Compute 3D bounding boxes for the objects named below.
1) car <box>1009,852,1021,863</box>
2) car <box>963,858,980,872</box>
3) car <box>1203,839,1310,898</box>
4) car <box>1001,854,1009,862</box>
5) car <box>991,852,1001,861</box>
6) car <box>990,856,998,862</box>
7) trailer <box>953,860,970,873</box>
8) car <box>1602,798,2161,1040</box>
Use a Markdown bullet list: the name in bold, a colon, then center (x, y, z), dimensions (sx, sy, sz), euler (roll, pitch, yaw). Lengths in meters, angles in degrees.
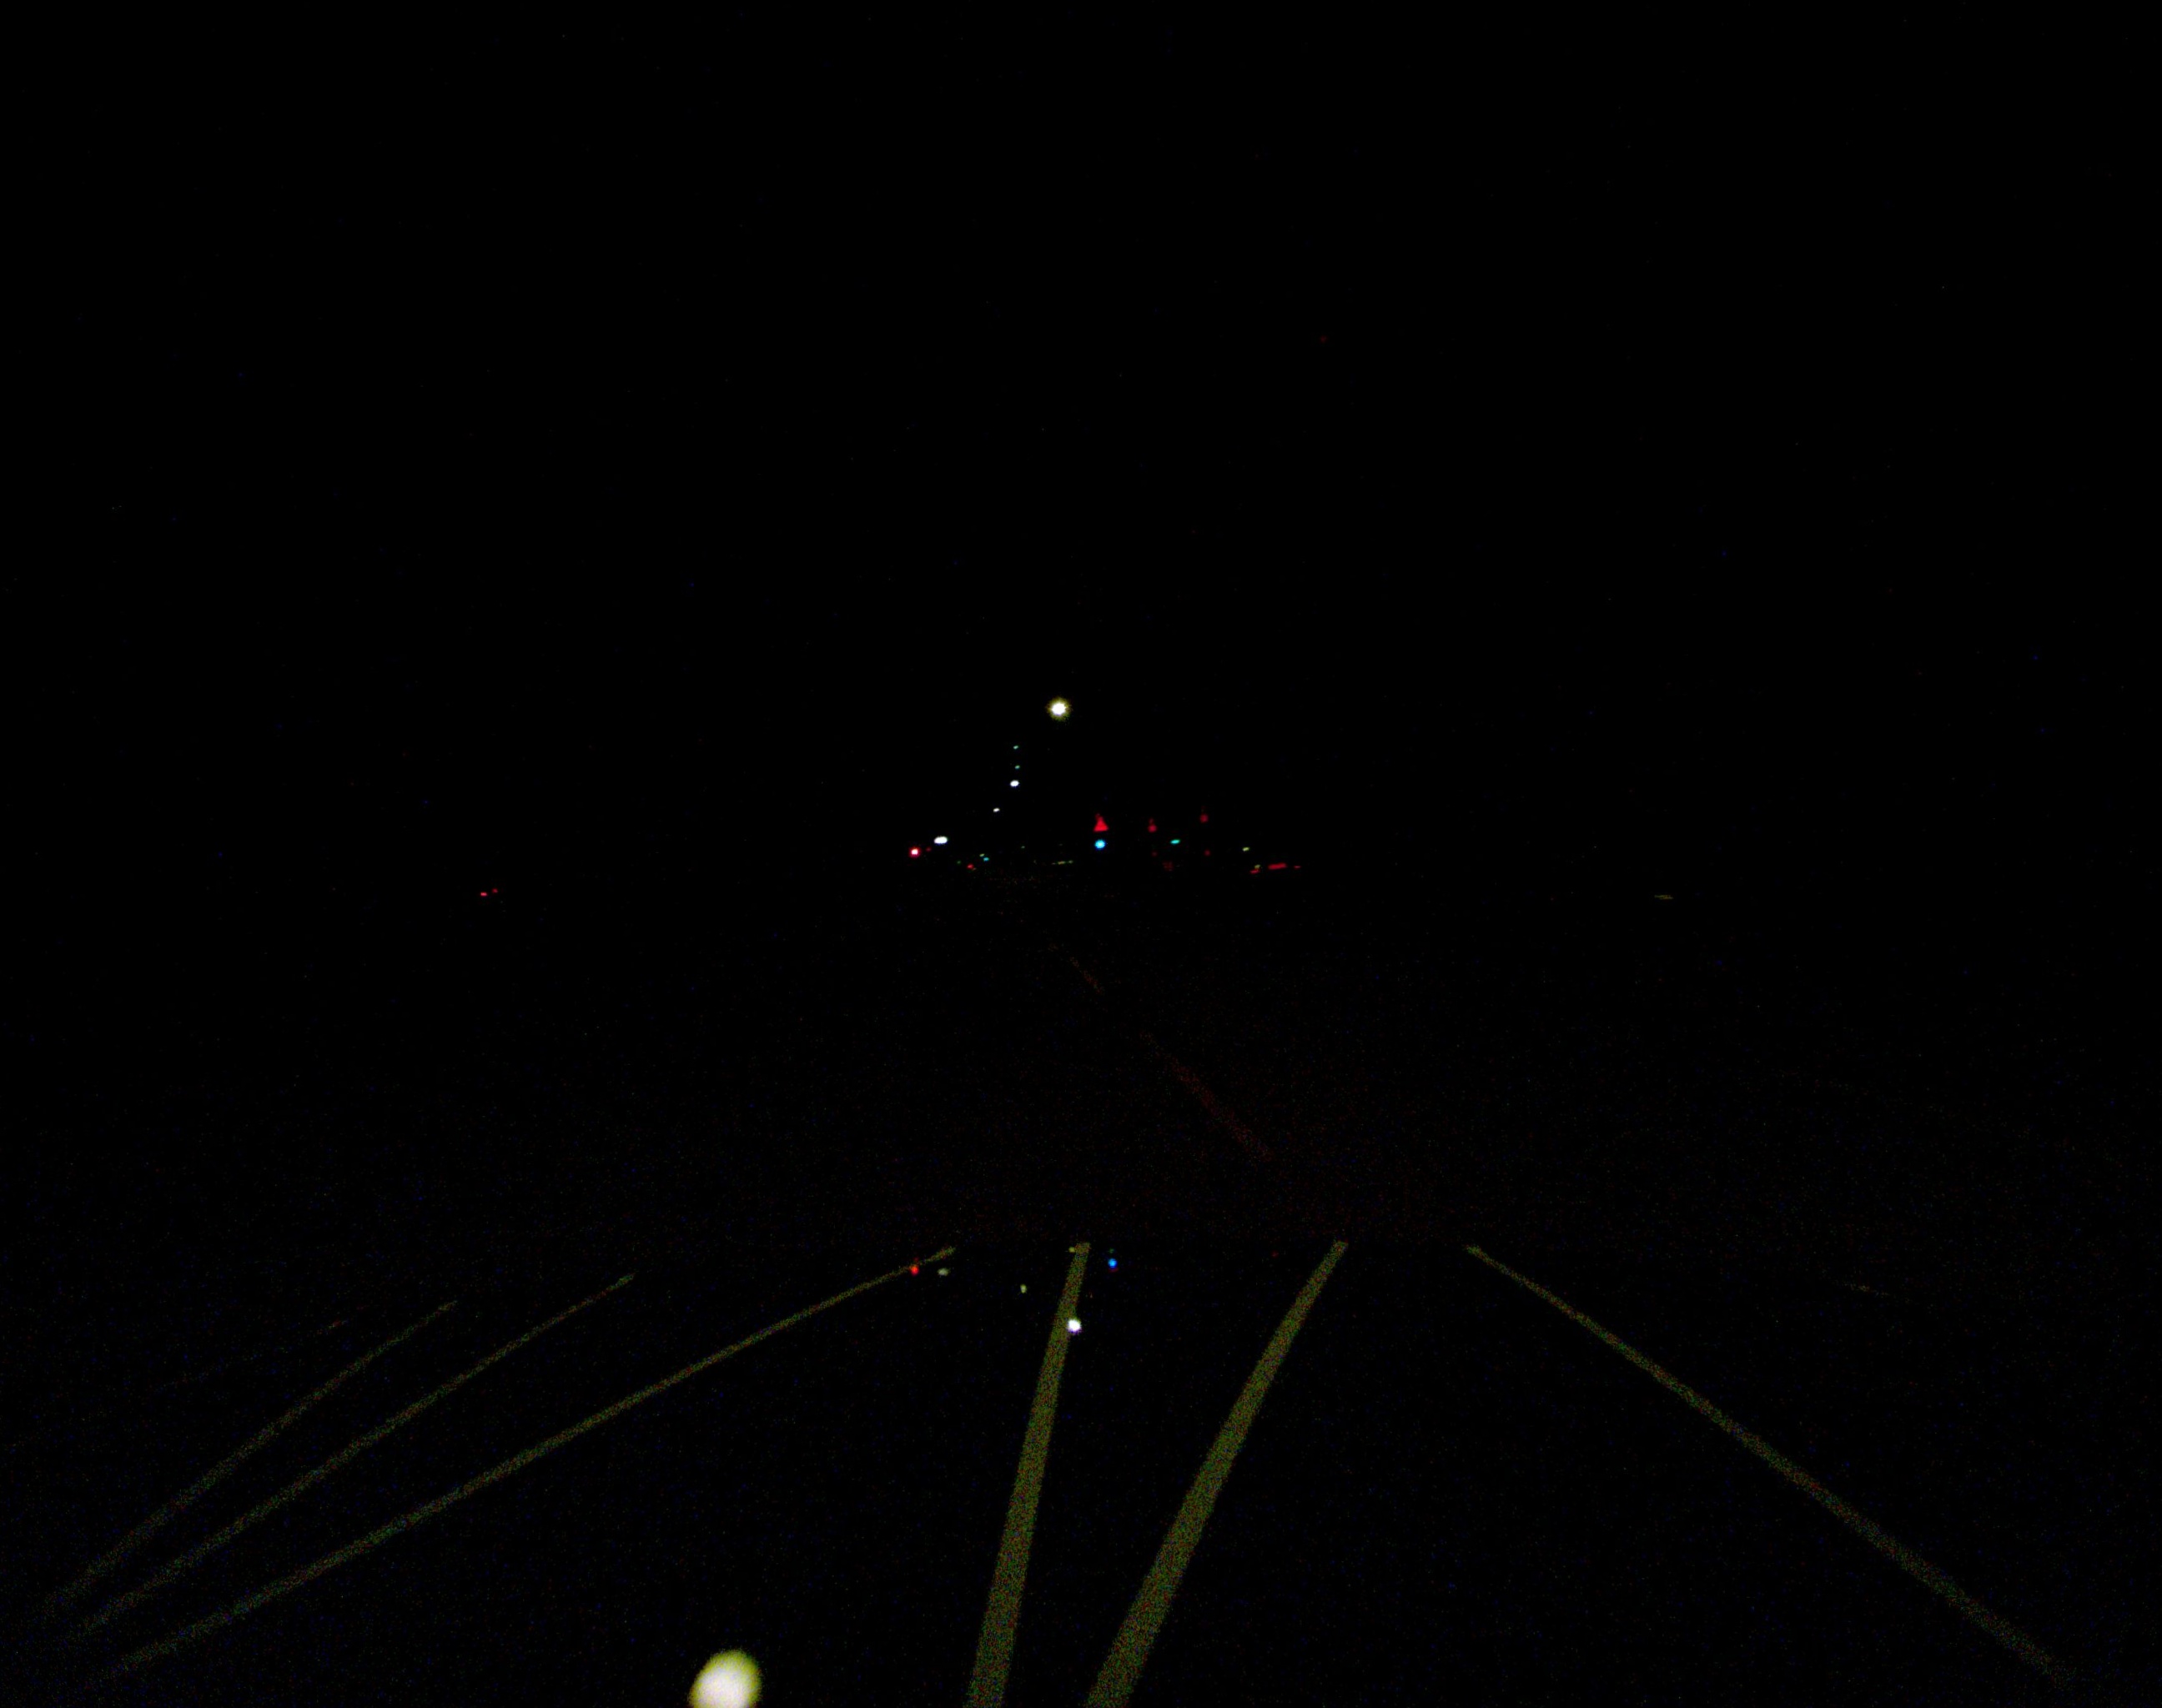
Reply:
- **car**: center (-12.470, 0.663, 143.807), dimensions (1.883, 1.798, 3.729), euler (-7, 1, -7)
- **car**: center (-12.138, 1.210, 84.302), dimensions (1.591, 1.452, 3.794), euler (-5, 0, -6)
- **car**: center (5.158, 0.400, 22.866), dimensions (1.719, 1.485, 3.987), euler (-5, 1, -8)
- **car**: center (-17.160, 0.899, 171.413), dimensions (1.827, 1.637, 3.729), euler (-3, 0, -7)
- **car**: center (-24.134, 0.764, 215.741), dimensions (2.006, 2.493, 4.950), euler (-7, 1, -10)
- **car**: center (-23.281, 1.293, 204.110), dimensions (1.827, 1.424, 3.728), euler (-7, 1, -10)
- **trailer**: center (-14.677, 1.508, 93.416), dimensions (1.605, 1.486, 3.732), euler (-5, 1, -4)
- **car**: center (7.282, 0.368, 6.537), dimensions (1.774, 1.477, 4.763), euler (-4, 1, -9)
